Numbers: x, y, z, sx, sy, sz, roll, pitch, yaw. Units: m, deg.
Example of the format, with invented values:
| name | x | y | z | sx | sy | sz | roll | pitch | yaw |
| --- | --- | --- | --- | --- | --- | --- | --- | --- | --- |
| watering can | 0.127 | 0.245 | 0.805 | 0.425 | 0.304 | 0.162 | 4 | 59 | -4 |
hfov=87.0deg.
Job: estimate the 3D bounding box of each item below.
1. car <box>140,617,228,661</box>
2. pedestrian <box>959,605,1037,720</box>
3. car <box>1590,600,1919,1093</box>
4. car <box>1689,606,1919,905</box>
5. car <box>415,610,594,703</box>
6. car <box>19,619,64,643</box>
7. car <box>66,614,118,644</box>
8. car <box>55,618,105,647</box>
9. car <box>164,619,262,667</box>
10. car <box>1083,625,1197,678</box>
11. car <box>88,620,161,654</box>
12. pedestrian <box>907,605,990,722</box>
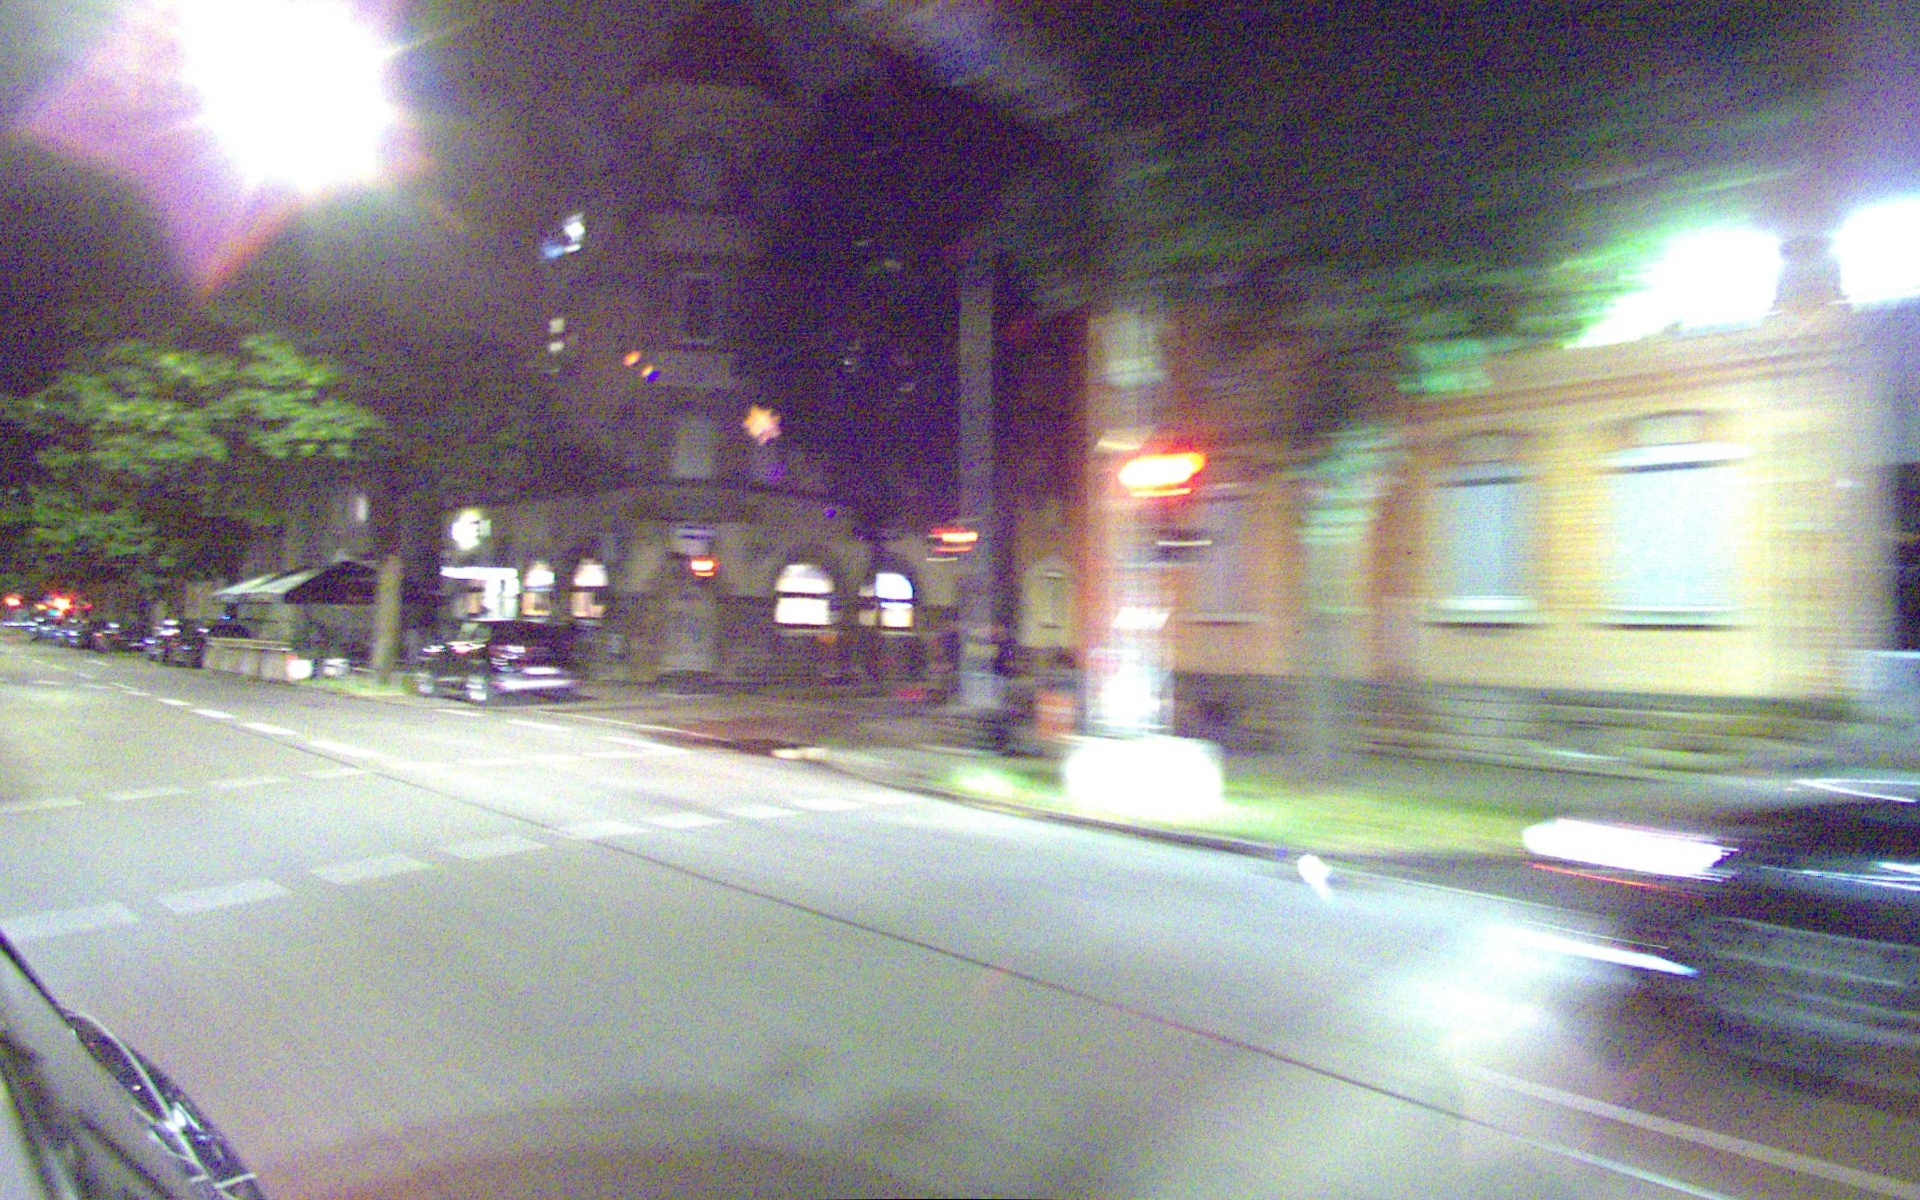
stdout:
| name | x | y | z | sx | sy | sz | roll | pitch | yaw |
| --- | --- | --- | --- | --- | --- | --- | --- | --- | --- |
| car | -28.351 | 1.371 | 36.932 | 4.473 | 1.490 | 1.840 | -1 | -1 | 43 |
| pedestrian | 0.579 | 0.947 | 15.581 | 0.700 | 1.703 | 1.000 | 3 | -3 | -37 |
| car | 4.246 | 0.751 | 2.822 | 4.000 | 1.440 | 1.696 | -1 | -4 | 43 |
| car | 6.087 | 0.789 | 5.071 | 1.573 | 1.502 | 3.703 | -1 | 0 | -42 |
| car | -8.930 | 1.009 | 19.678 | 4.026 | 1.608 | 1.864 | -1 | -1 | 45 |
| car | -59.933 | 1.996 | 66.002 | 3.511 | 1.475 | 1.612 | 0 | -3 | 39 |
| car | -44.155 | 1.462 | 51.450 | 4.348 | 1.444 | 1.534 | -1 | 0 | 43 |
| car | -47.565 | 1.716 | 54.650 | 4.350 | 1.444 | 1.620 | -1 | 0 | 43 |
| car | -24.689 | 1.363 | 33.398 | 4.444 | 1.444 | 1.840 | -1 | -1 | 43 |
| car | 5.916 | 1.637 | 32.993 | 1.900 | 1.611 | 3.945 | -1 | -2 | 41 |
| car | -37.981 | 1.631 | 45.988 | 4.401 | 1.444 | 1.841 | -1 | -1 | 41 |
| pedestrian | -0.181 | 0.947 | 15.370 | 0.700 | 1.703 | 1.127 | 3 | -3 | -37 |
